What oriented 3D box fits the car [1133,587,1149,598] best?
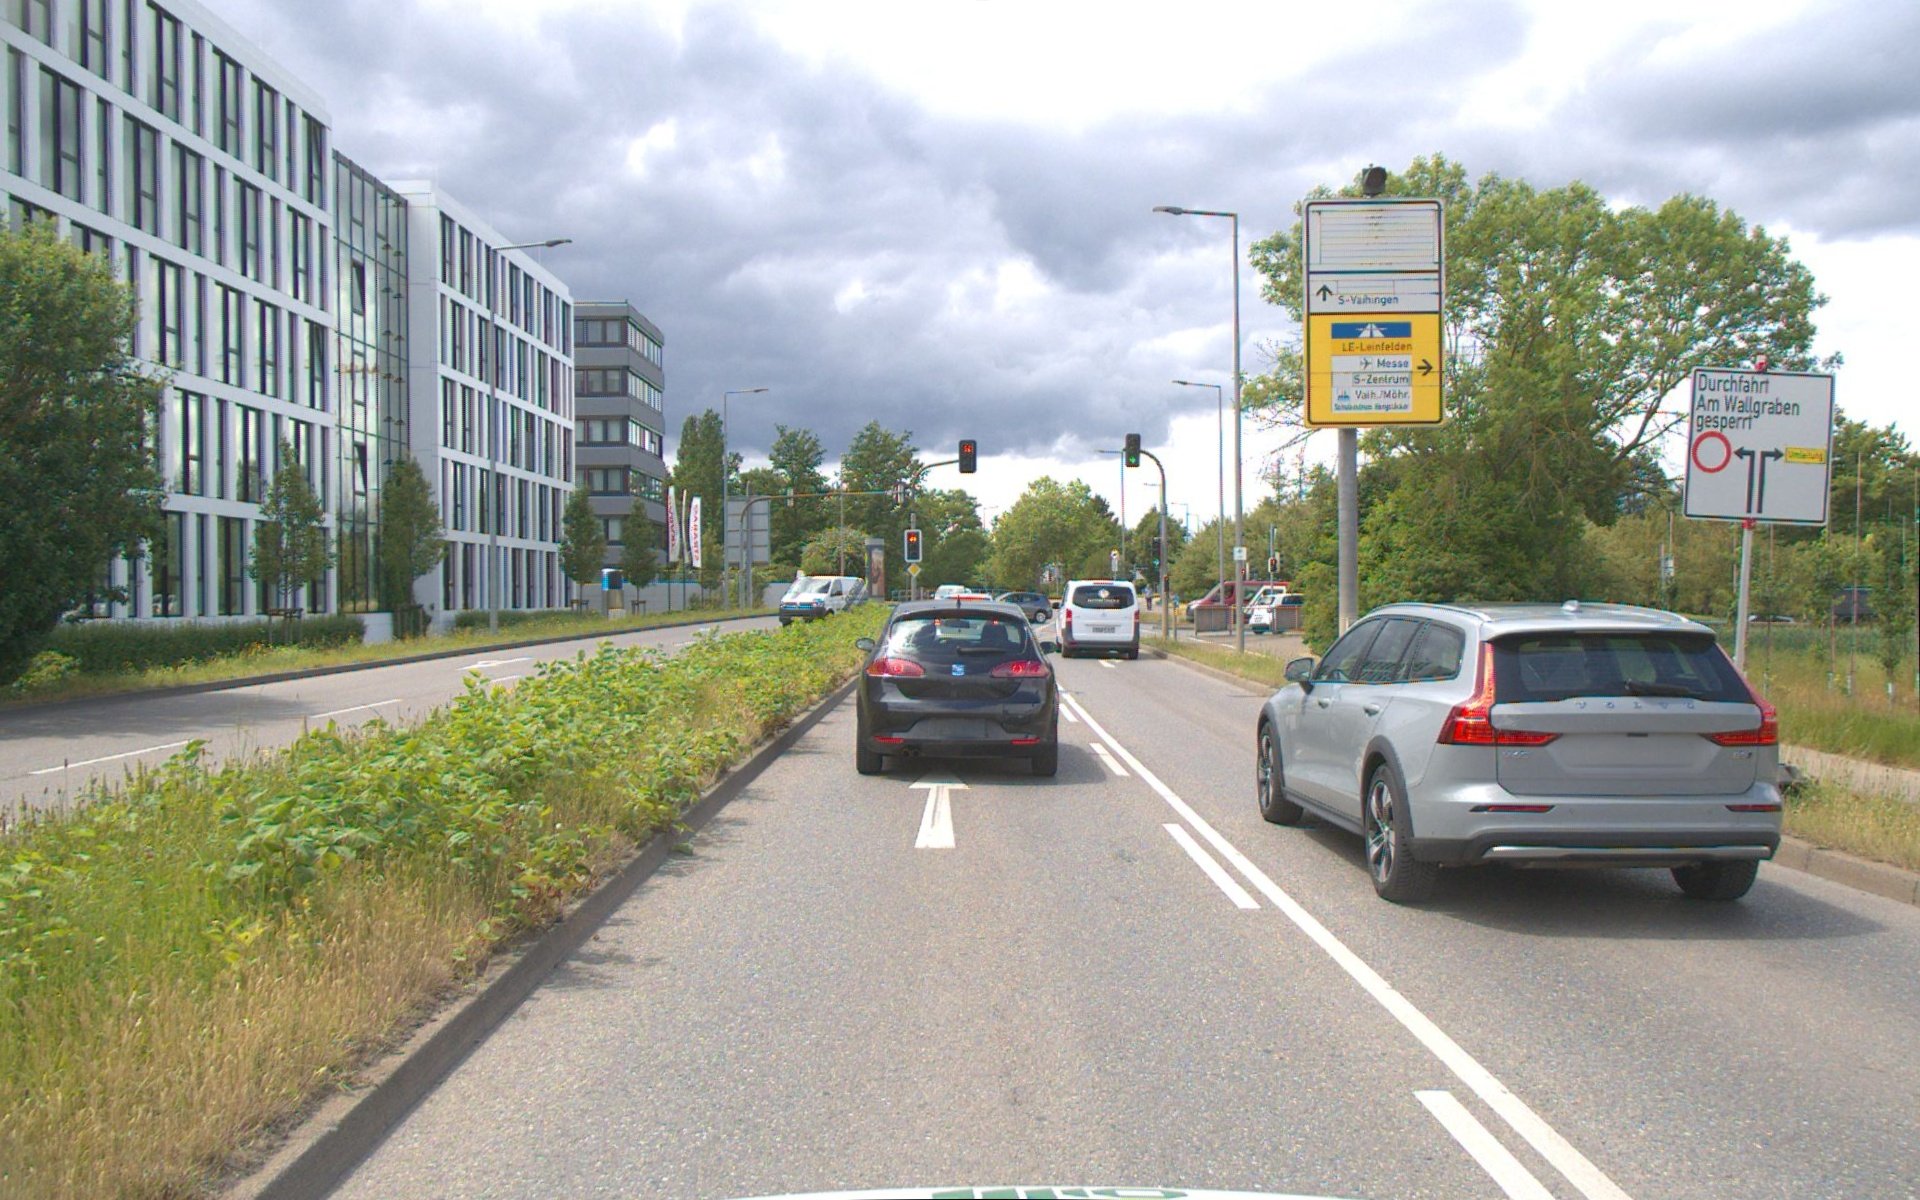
[{"bbox_3d":[24.338,-1.022,221.945,1.951,1.375,4.004,1,0,9],"label":"car"}]

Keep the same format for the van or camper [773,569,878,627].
[{"bbox_3d":[-4.942,-0.075,61.485,1.953,2.049,4.815,0,0,22],"label":"van or camper"}]

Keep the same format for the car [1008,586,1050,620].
[{"bbox_3d":[3.353,0.120,80.207,1.952,1.624,4.001,0,0,2],"label":"car"}]

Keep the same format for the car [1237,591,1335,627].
[{"bbox_3d":[12.533,0.335,63.621,3.322,1.369,1.683,0,0,-14],"label":"car"}]

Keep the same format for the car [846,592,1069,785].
[{"bbox_3d":[0.019,0.689,14.821,1.736,1.477,3.583,1,0,1],"label":"car"}]

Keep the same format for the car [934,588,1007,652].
[{"bbox_3d":[0.216,0.473,41.485,1.737,1.517,3.581,-1,0,-1],"label":"car"}]

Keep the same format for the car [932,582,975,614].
[{"bbox_3d":[-0.296,-0.118,87.327,1.951,1.624,4.002,0,0,4],"label":"car"}]

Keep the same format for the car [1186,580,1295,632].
[{"bbox_3d":[13.475,0.306,79.727,5.112,2.454,2.002,0,0,8],"label":"car"}]

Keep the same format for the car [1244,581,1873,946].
[{"bbox_3d":[2.974,0.686,9.360,1.825,1.545,4.445,-1,0,-2],"label":"car"}]

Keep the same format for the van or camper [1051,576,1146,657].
[{"bbox_3d":[3.392,0.370,41.369,1.953,1.892,4.943,0,0,0],"label":"van or camper"}]
